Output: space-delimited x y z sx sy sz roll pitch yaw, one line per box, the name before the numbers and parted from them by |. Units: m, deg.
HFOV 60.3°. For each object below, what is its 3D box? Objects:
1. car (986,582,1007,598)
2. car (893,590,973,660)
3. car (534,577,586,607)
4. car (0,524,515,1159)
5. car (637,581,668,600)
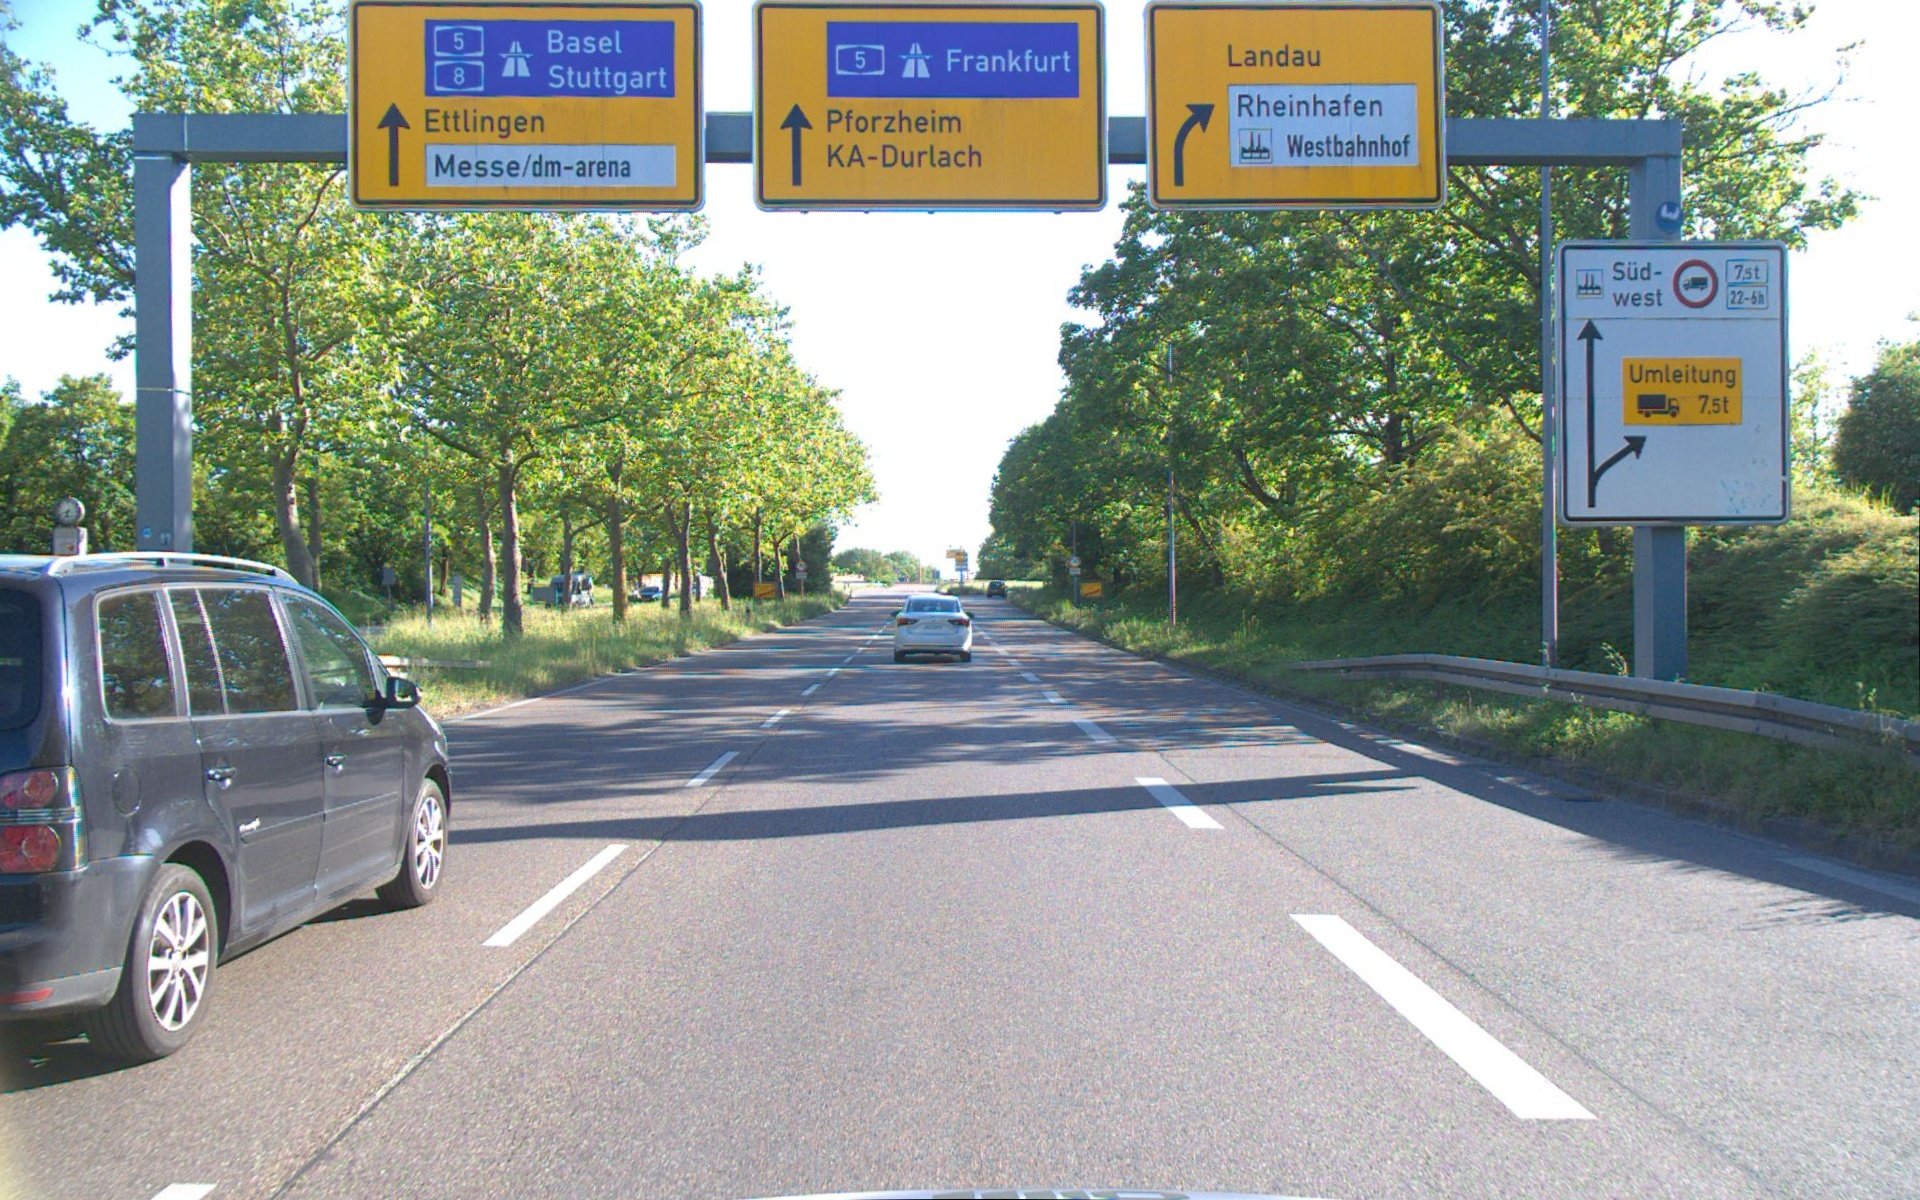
car | 3.646 -0.981 163.867 1.730 1.489 4.370 -1 1 7
car | -0.636 0.527 38.437 1.732 1.489 4.365 -1 1 -1
car | -26.027 -0.540 107.808 2.091 1.935 5.741 -1 1 -1
car | -3.341 0.620 6.802 1.731 1.673 4.922 0 0 -1
car | -25.376 -0.796 136.543 1.732 1.489 4.365 -1 1 -1
